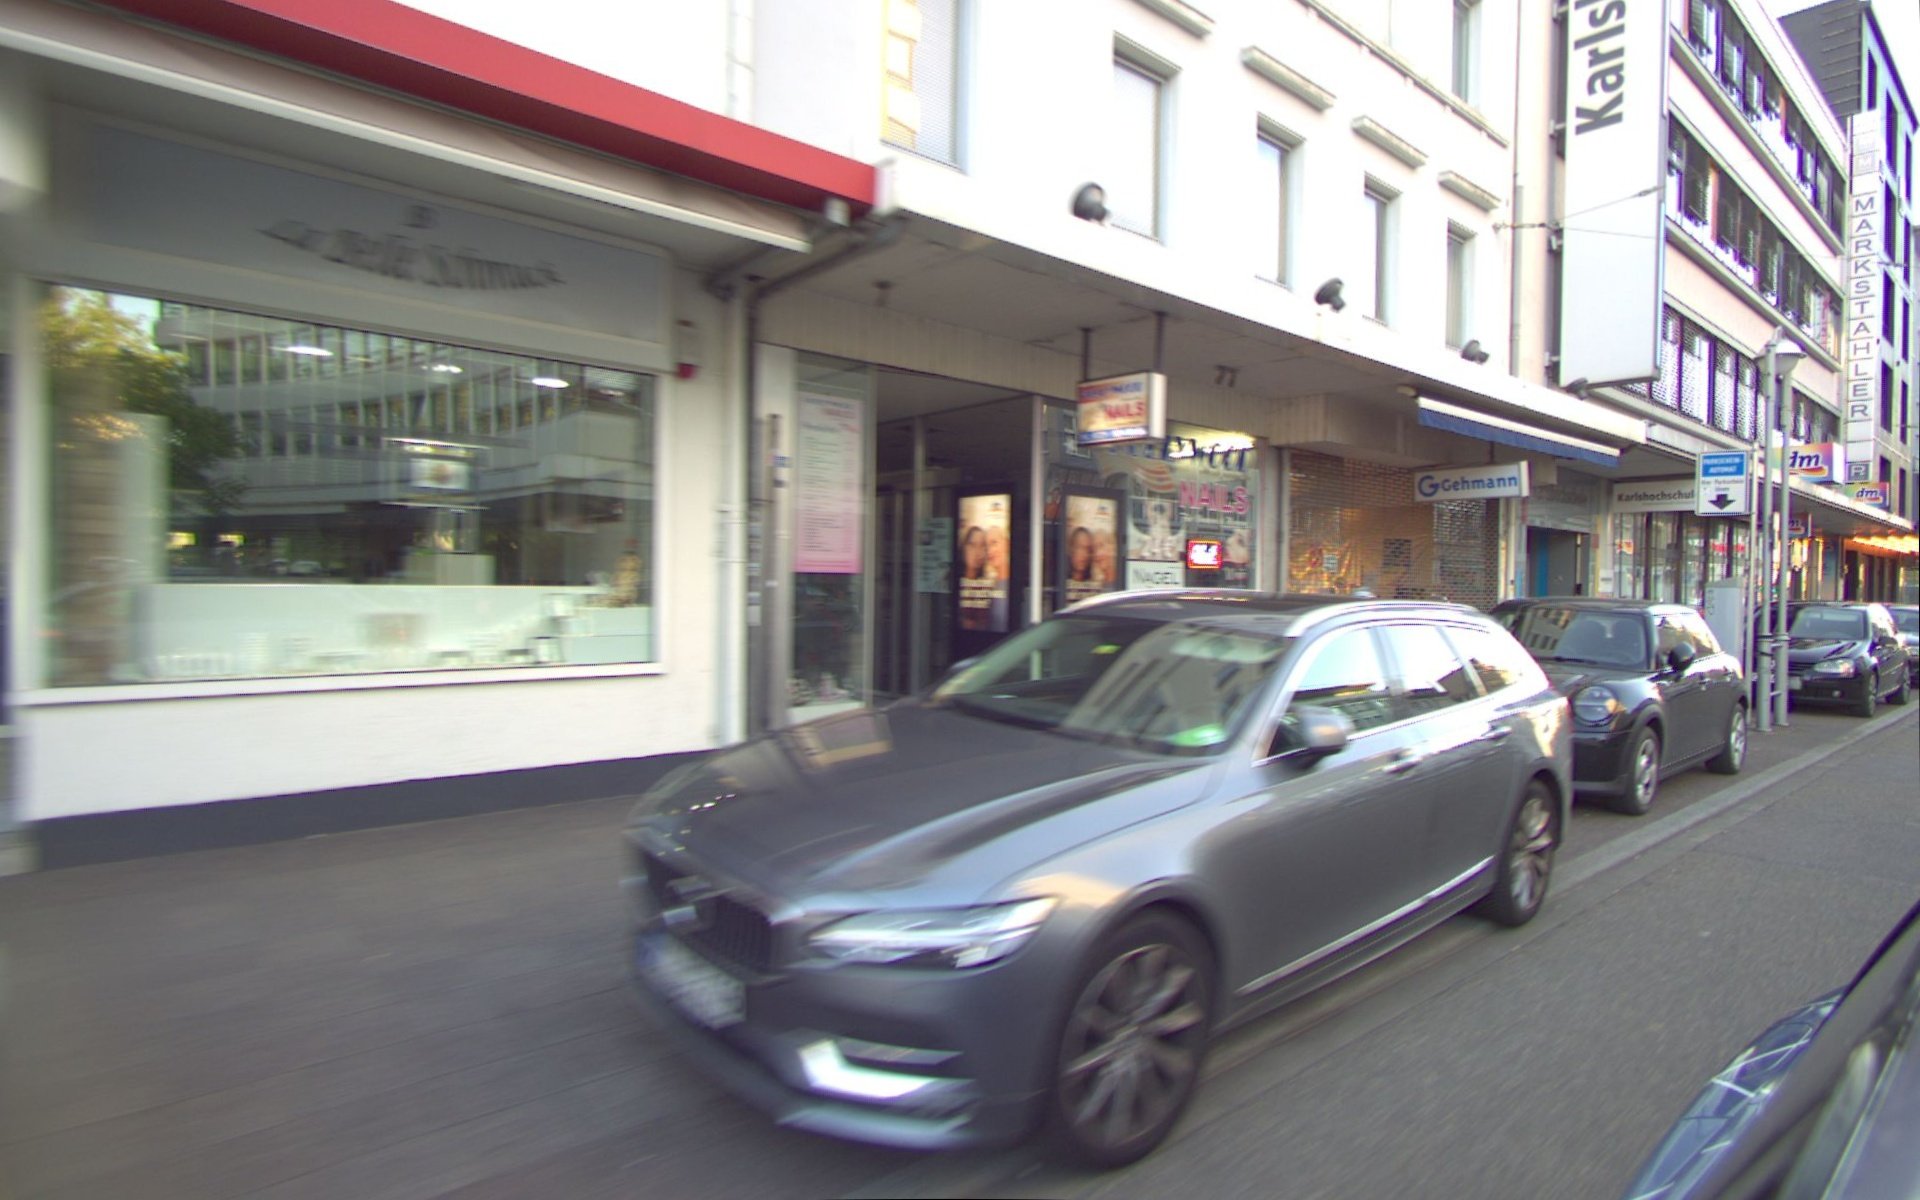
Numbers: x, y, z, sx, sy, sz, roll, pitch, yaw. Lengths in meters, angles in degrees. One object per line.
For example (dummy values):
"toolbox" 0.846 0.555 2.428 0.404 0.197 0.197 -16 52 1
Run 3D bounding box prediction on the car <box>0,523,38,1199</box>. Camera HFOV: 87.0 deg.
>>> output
"car" -3.523 0.627 0.616 4.279 1.542 1.784 0 -1 -40

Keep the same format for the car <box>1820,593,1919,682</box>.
"car" 17.400 0.631 18.729 3.952 1.481 1.657 -1 0 -41

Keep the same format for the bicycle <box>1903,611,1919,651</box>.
"bicycle" 24.351 0.817 24.745 0.566 0.984 1.797 0 3 -43

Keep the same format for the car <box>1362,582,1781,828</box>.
"car" 5.040 0.624 8.134 3.930 1.500 1.729 -1 0 -40

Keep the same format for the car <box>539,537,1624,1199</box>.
"car" 0.990 0.633 4.235 4.773 1.552 1.794 -1 0 -42

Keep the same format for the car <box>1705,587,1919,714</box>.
"car" 12.144 0.597 14.264 4.000 1.532 1.768 -1 0 -40
